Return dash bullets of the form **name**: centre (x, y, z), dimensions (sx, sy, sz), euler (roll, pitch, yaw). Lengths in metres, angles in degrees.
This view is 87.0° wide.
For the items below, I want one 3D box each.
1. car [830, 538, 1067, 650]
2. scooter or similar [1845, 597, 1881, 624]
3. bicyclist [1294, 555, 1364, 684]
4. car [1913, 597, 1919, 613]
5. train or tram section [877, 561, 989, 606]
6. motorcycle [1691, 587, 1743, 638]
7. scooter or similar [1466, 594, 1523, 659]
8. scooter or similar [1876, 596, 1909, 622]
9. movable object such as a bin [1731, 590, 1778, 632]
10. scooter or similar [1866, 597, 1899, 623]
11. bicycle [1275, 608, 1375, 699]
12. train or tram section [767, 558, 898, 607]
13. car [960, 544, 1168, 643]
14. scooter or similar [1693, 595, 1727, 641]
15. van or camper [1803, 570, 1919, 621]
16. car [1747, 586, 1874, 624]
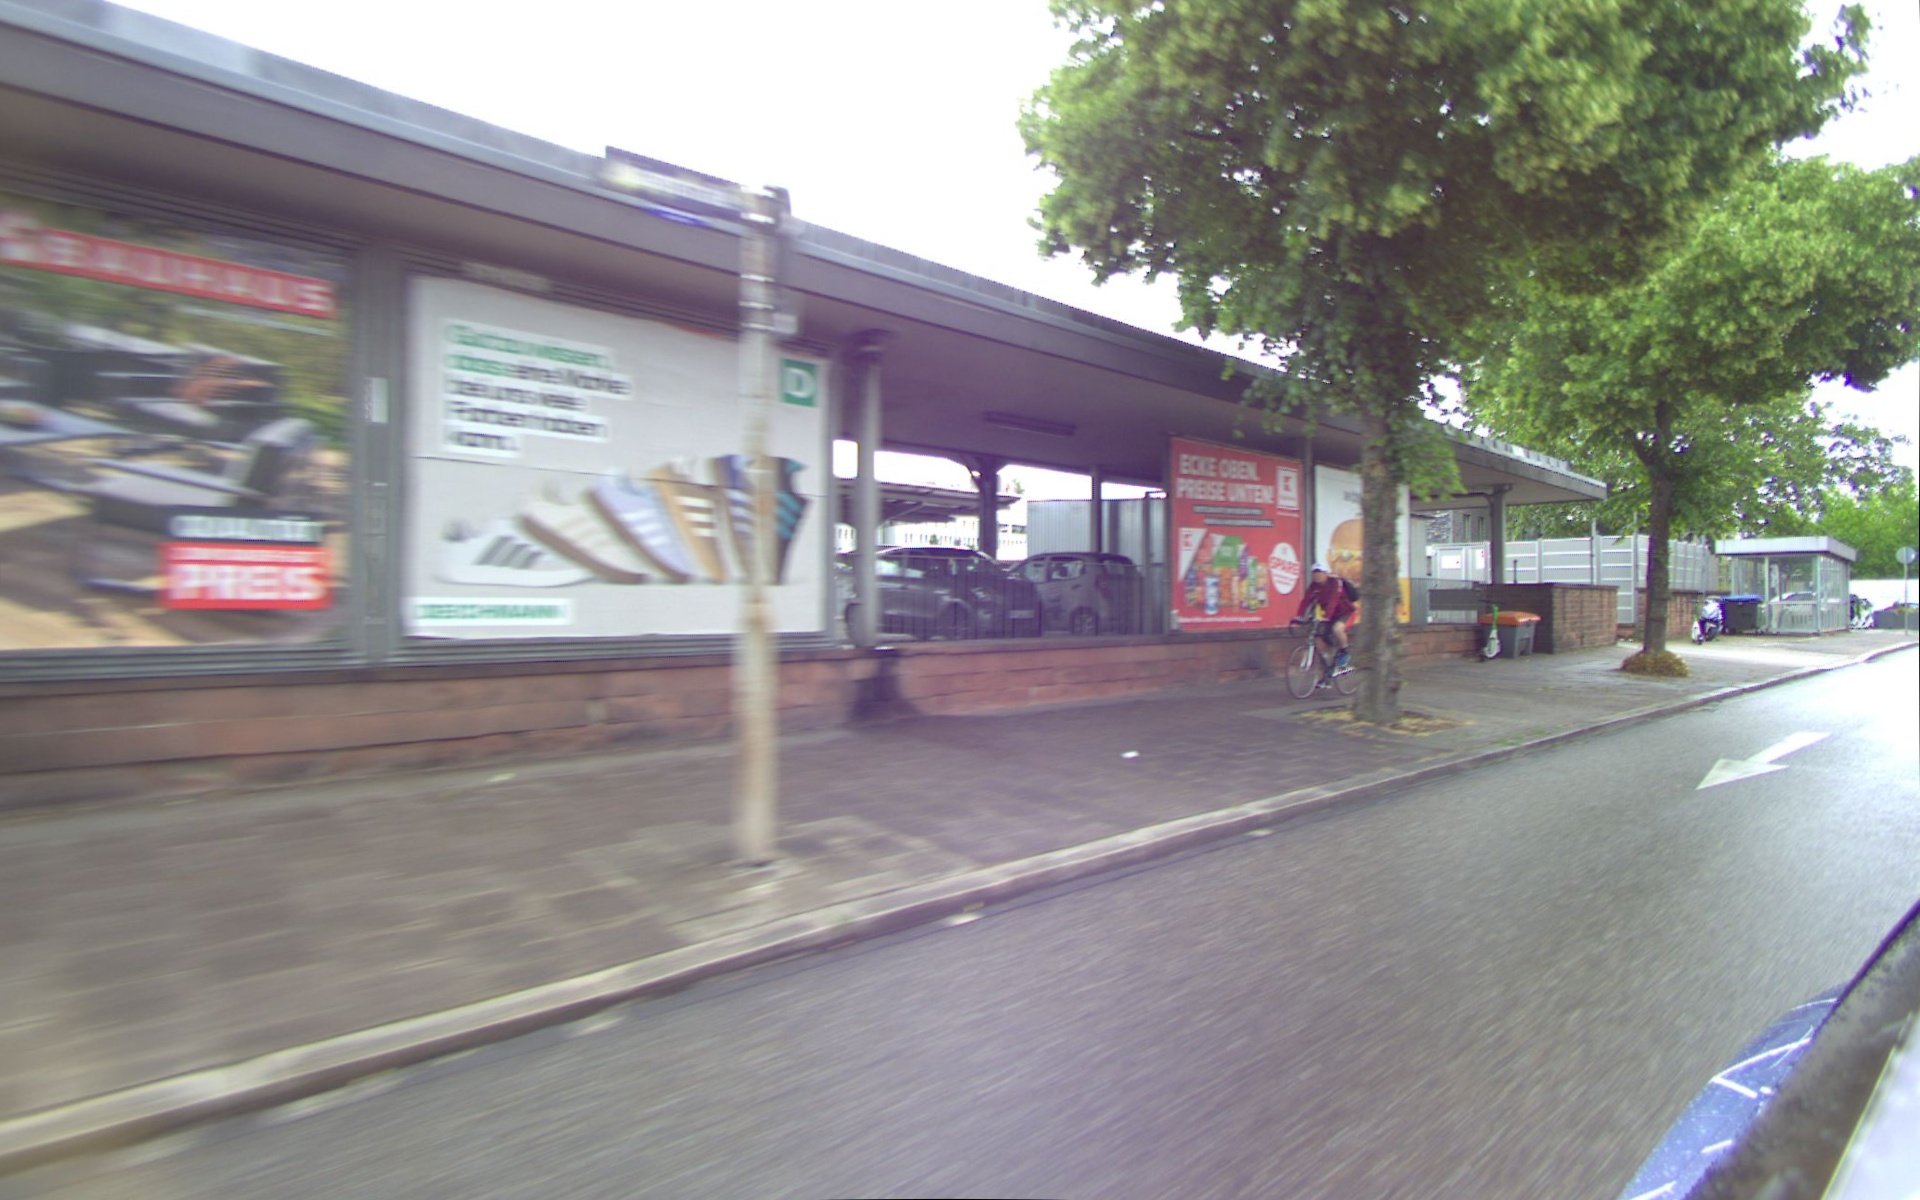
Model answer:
- **car**: centre (-0.271, -0.148, 16.032), dimensions (1.717, 1.561, 3.687), euler (0, 2, -43)
- **scooter or similar**: centre (41.752, 0.479, 46.795), dimensions (1.638, 1.170, 1.066), euler (-1, 0, -41)
- **bicyclist**: centre (4.633, 0.231, 12.691), dimensions (0.683, 1.557, 0.534), euler (0, 2, -44)
- **car**: centre (92.551, 0.519, 95.402), dimensions (1.789, 1.509, 4.153), euler (1, 1, 5)
- **train or tram section**: centre (-2.165, -1.419, 86.747), dimensions (2.741, 3.648, 10.754), euler (1, 1, 45)
- **motorcycle**: centre (21.468, 0.334, 28.691), dimensions (2.416, 1.365, 0.792), euler (0, 1, -44)
- **scooter or similar**: centre (10.136, 0.477, 19.174), dimensions (1.520, 1.167, 0.493), euler (-1, 1, -44)
- **scooter or similar**: centre (42.666, 0.419, 46.302), dimensions (1.237, 1.170, 0.415), euler (-1, -2, -10)
- **movable object such as a bin**: centre (26.306, 0.348, 33.509), dimensions (1.295, 1.355, 1.035), euler (0, 1, -43)
- **scooter or similar**: centre (42.598, 0.475, 46.743), dimensions (1.237, 1.170, 0.415), euler (-1, -2, -10)
- **bicycle**: centre (4.597, 0.637, 12.688), dimensions (1.649, 1.028, 0.447), euler (0, 3, -44)
- **train or tram section**: centre (-9.812, -1.347, 79.184), dimensions (10.752, 3.648, 2.741), euler (0, 1, -45)
- **car**: centre (1.751, -0.165, 17.943), dimensions (1.714, 1.561, 3.570), euler (0, 2, -36)
- **scooter or similar**: centre (20.036, 0.455, 27.057), dimensions (0.490, 1.167, 1.698), euler (1, 1, 28)
- **van or camper**: centre (55.622, -0.283, 61.377), dimensions (6.446, 2.905, 2.266), euler (1, 1, 19)
- **car**: centre (44.979, 0.236, 53.625), dimensions (4.636, 1.898, 2.098), euler (1, 1, 17)
